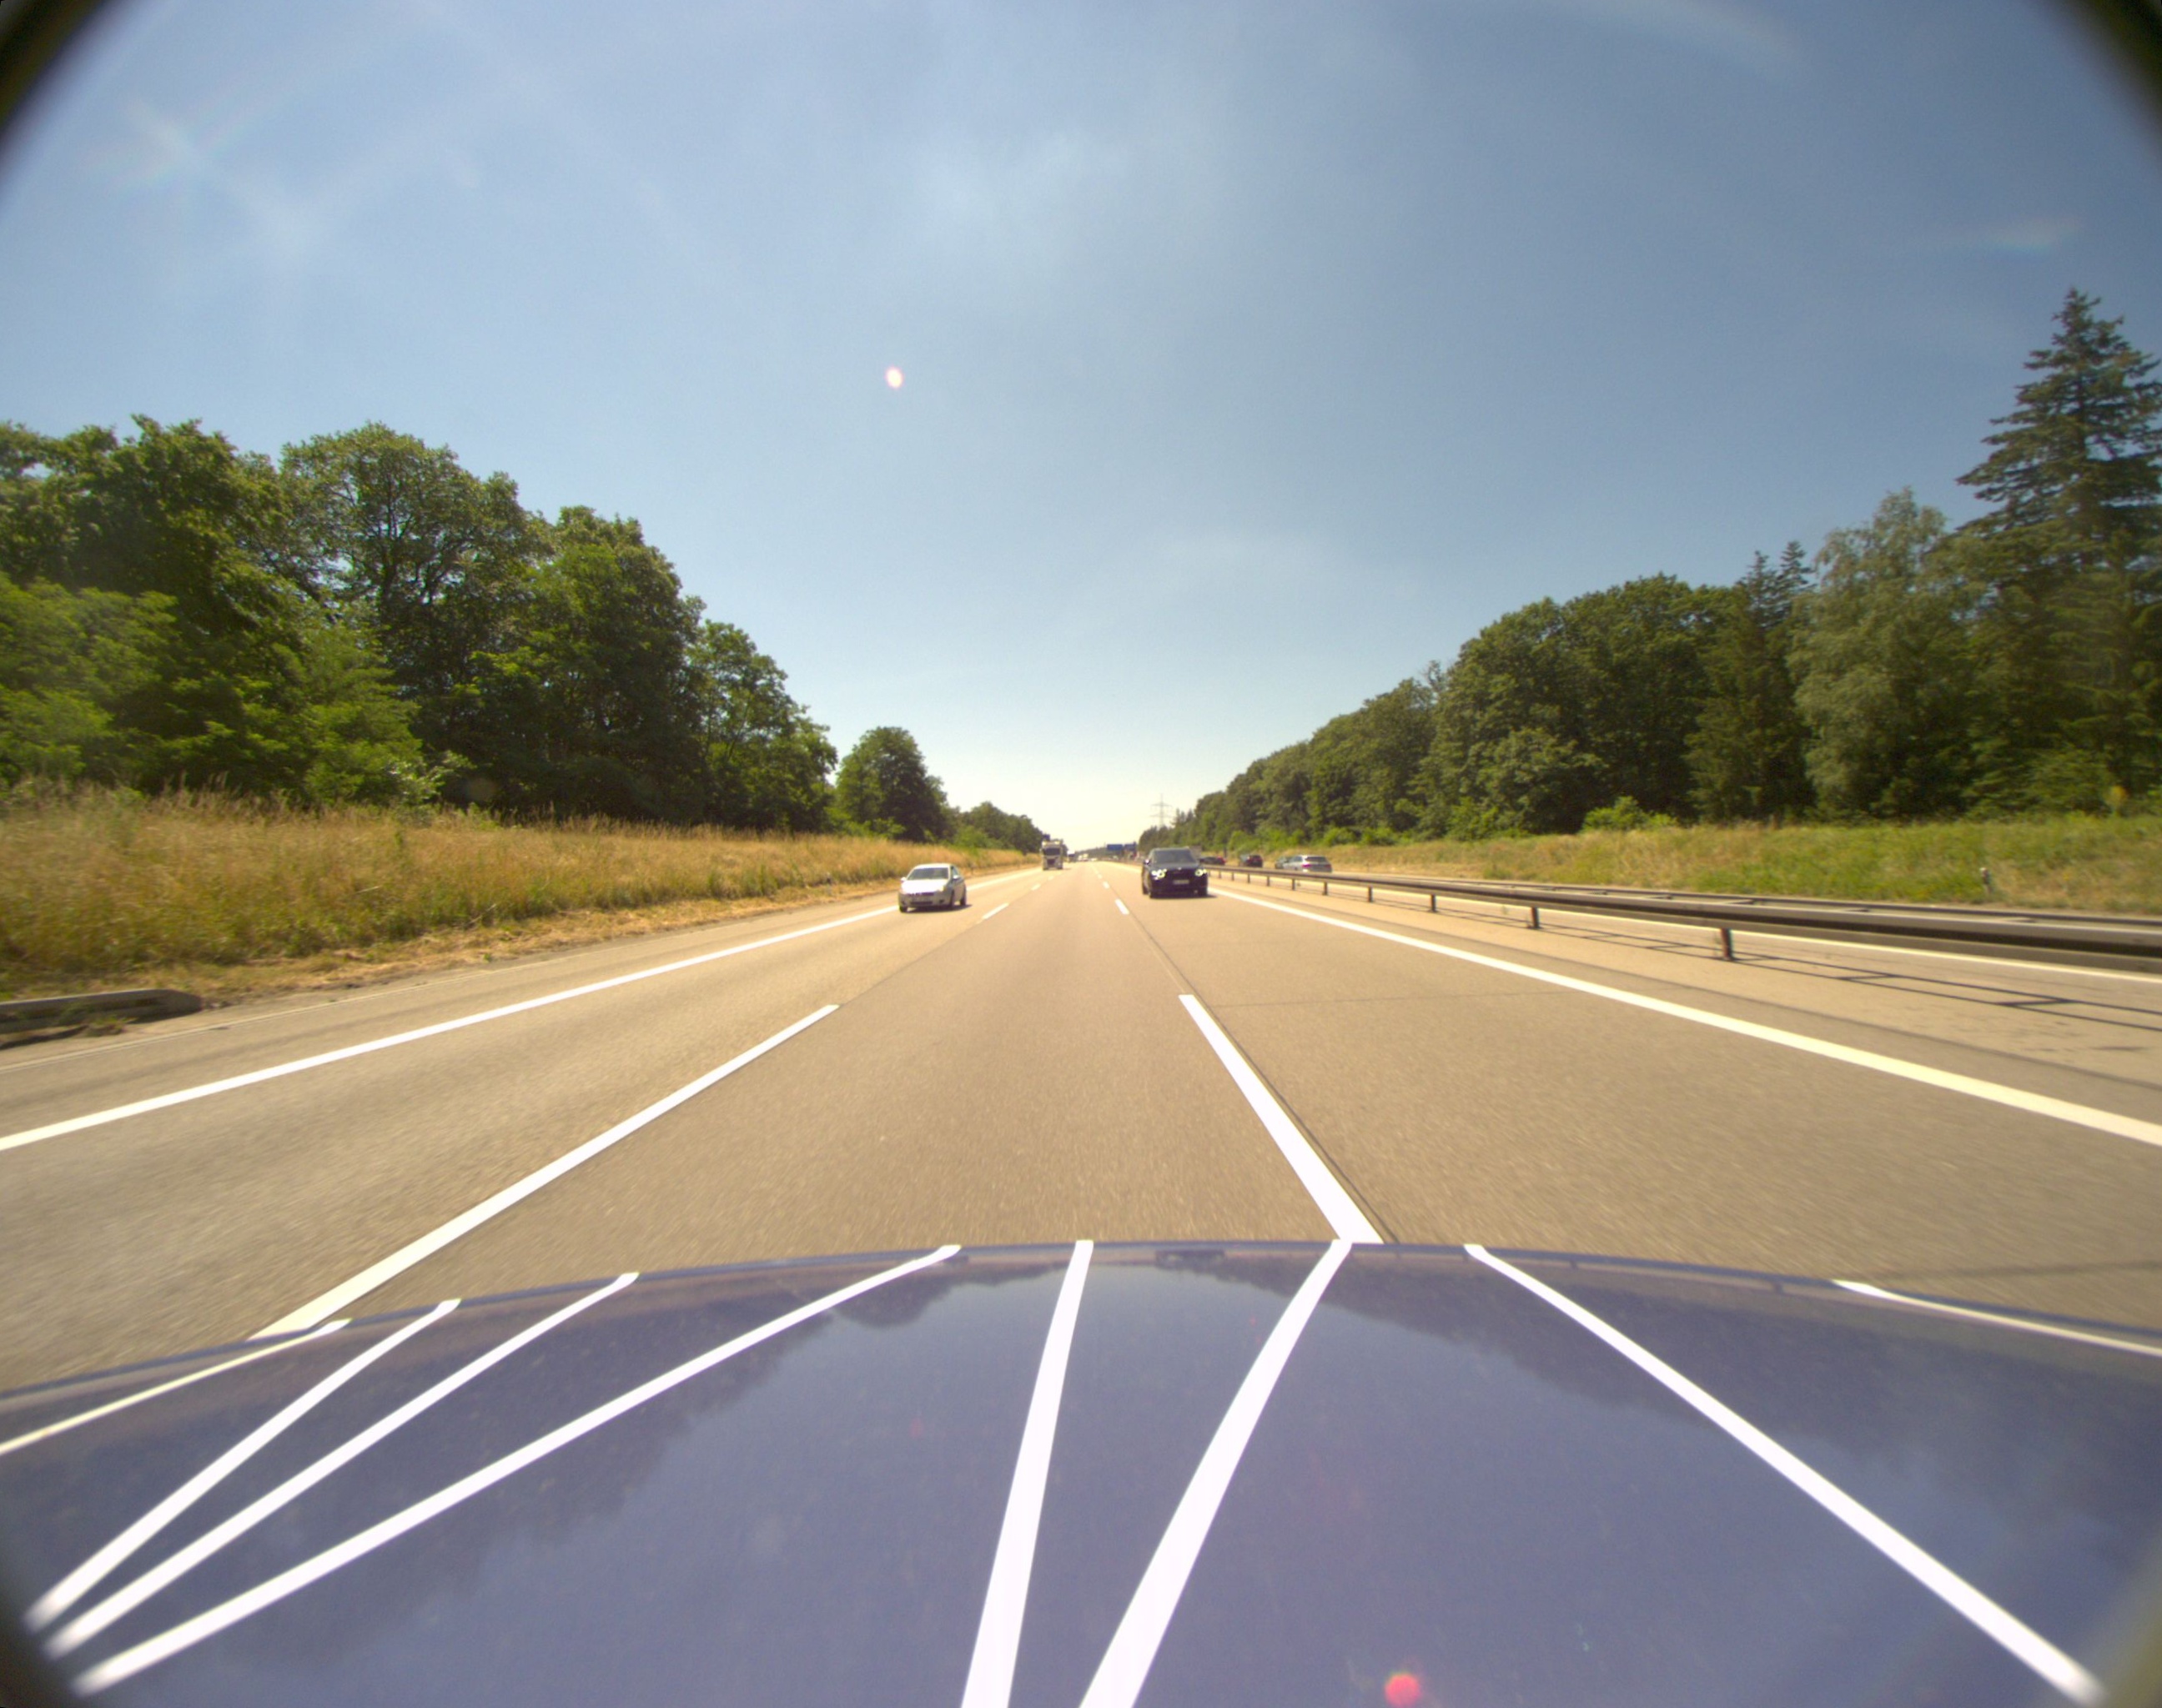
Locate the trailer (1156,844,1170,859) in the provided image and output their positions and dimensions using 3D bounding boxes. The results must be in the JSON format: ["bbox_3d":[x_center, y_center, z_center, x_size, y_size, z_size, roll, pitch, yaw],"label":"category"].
[{"bbox_3d":[23.241,-0.656,215.155,2.512,3.991,14.367,1,0,1],"label":"trailer"}]

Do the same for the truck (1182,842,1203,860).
[{"bbox_3d":[22.305,-0.645,152.648,2.739,3.498,10.441,1,0,0],"label":"truck"}]

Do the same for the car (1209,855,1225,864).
[{"bbox_3d":[21.886,0.859,122.422,1.658,1.403,5.176,1,0,0],"label":"car"}]

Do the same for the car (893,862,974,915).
[{"bbox_3d":[-4.764,1.072,25.040,1.749,1.457,3.980,-2,0,1],"label":"car"}]

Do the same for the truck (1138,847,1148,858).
[{"bbox_3d":[19.892,-0.490,245.130,2.463,3.585,8.119,1,0,1],"label":"truck"}]

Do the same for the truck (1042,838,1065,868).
[{"bbox_3d":[-3.691,-0.153,102.954,2.605,3.811,5.969,-3,0,1],"label":"truck"}]

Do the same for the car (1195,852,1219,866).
[{"bbox_3d":[13.397,0.507,80.842,1.703,1.421,4.574,1,0,0],"label":"car"}]

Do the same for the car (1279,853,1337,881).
[{"bbox_3d":[12.954,0.715,43.678,1.799,1.465,4.986,1,0,0],"label":"car"}]

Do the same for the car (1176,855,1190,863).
[{"bbox_3d":[18.297,0.922,136.294,1.766,1.399,4.352,1,0,0],"label":"car"}]

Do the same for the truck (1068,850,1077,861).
[{"bbox_3d":[-2.699,0.488,253.348,2.593,3.534,8.649,-3,0,1],"label":"truck"}]

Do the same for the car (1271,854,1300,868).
[{"bbox_3d":[21.009,0.679,78.075,1.675,1.401,4.597,1,0,0],"label":"car"}]

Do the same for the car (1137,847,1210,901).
[{"bbox_3d":[3.287,0.685,28.224,1.945,1.742,5.813,-2,0,0],"label":"car"}]

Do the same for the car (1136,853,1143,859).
[{"bbox_3d":[13.930,0.522,181.372,1.520,1.459,3.639,1,0,0],"label":"car"}]

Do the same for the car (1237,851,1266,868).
[{"bbox_3d":[17.733,0.570,79.110,1.799,1.609,4.986,1,0,0],"label":"car"}]

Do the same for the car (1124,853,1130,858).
[{"bbox_3d":[15.056,0.484,250.946,1.608,1.391,4.544,1,0,0],"label":"car"}]
